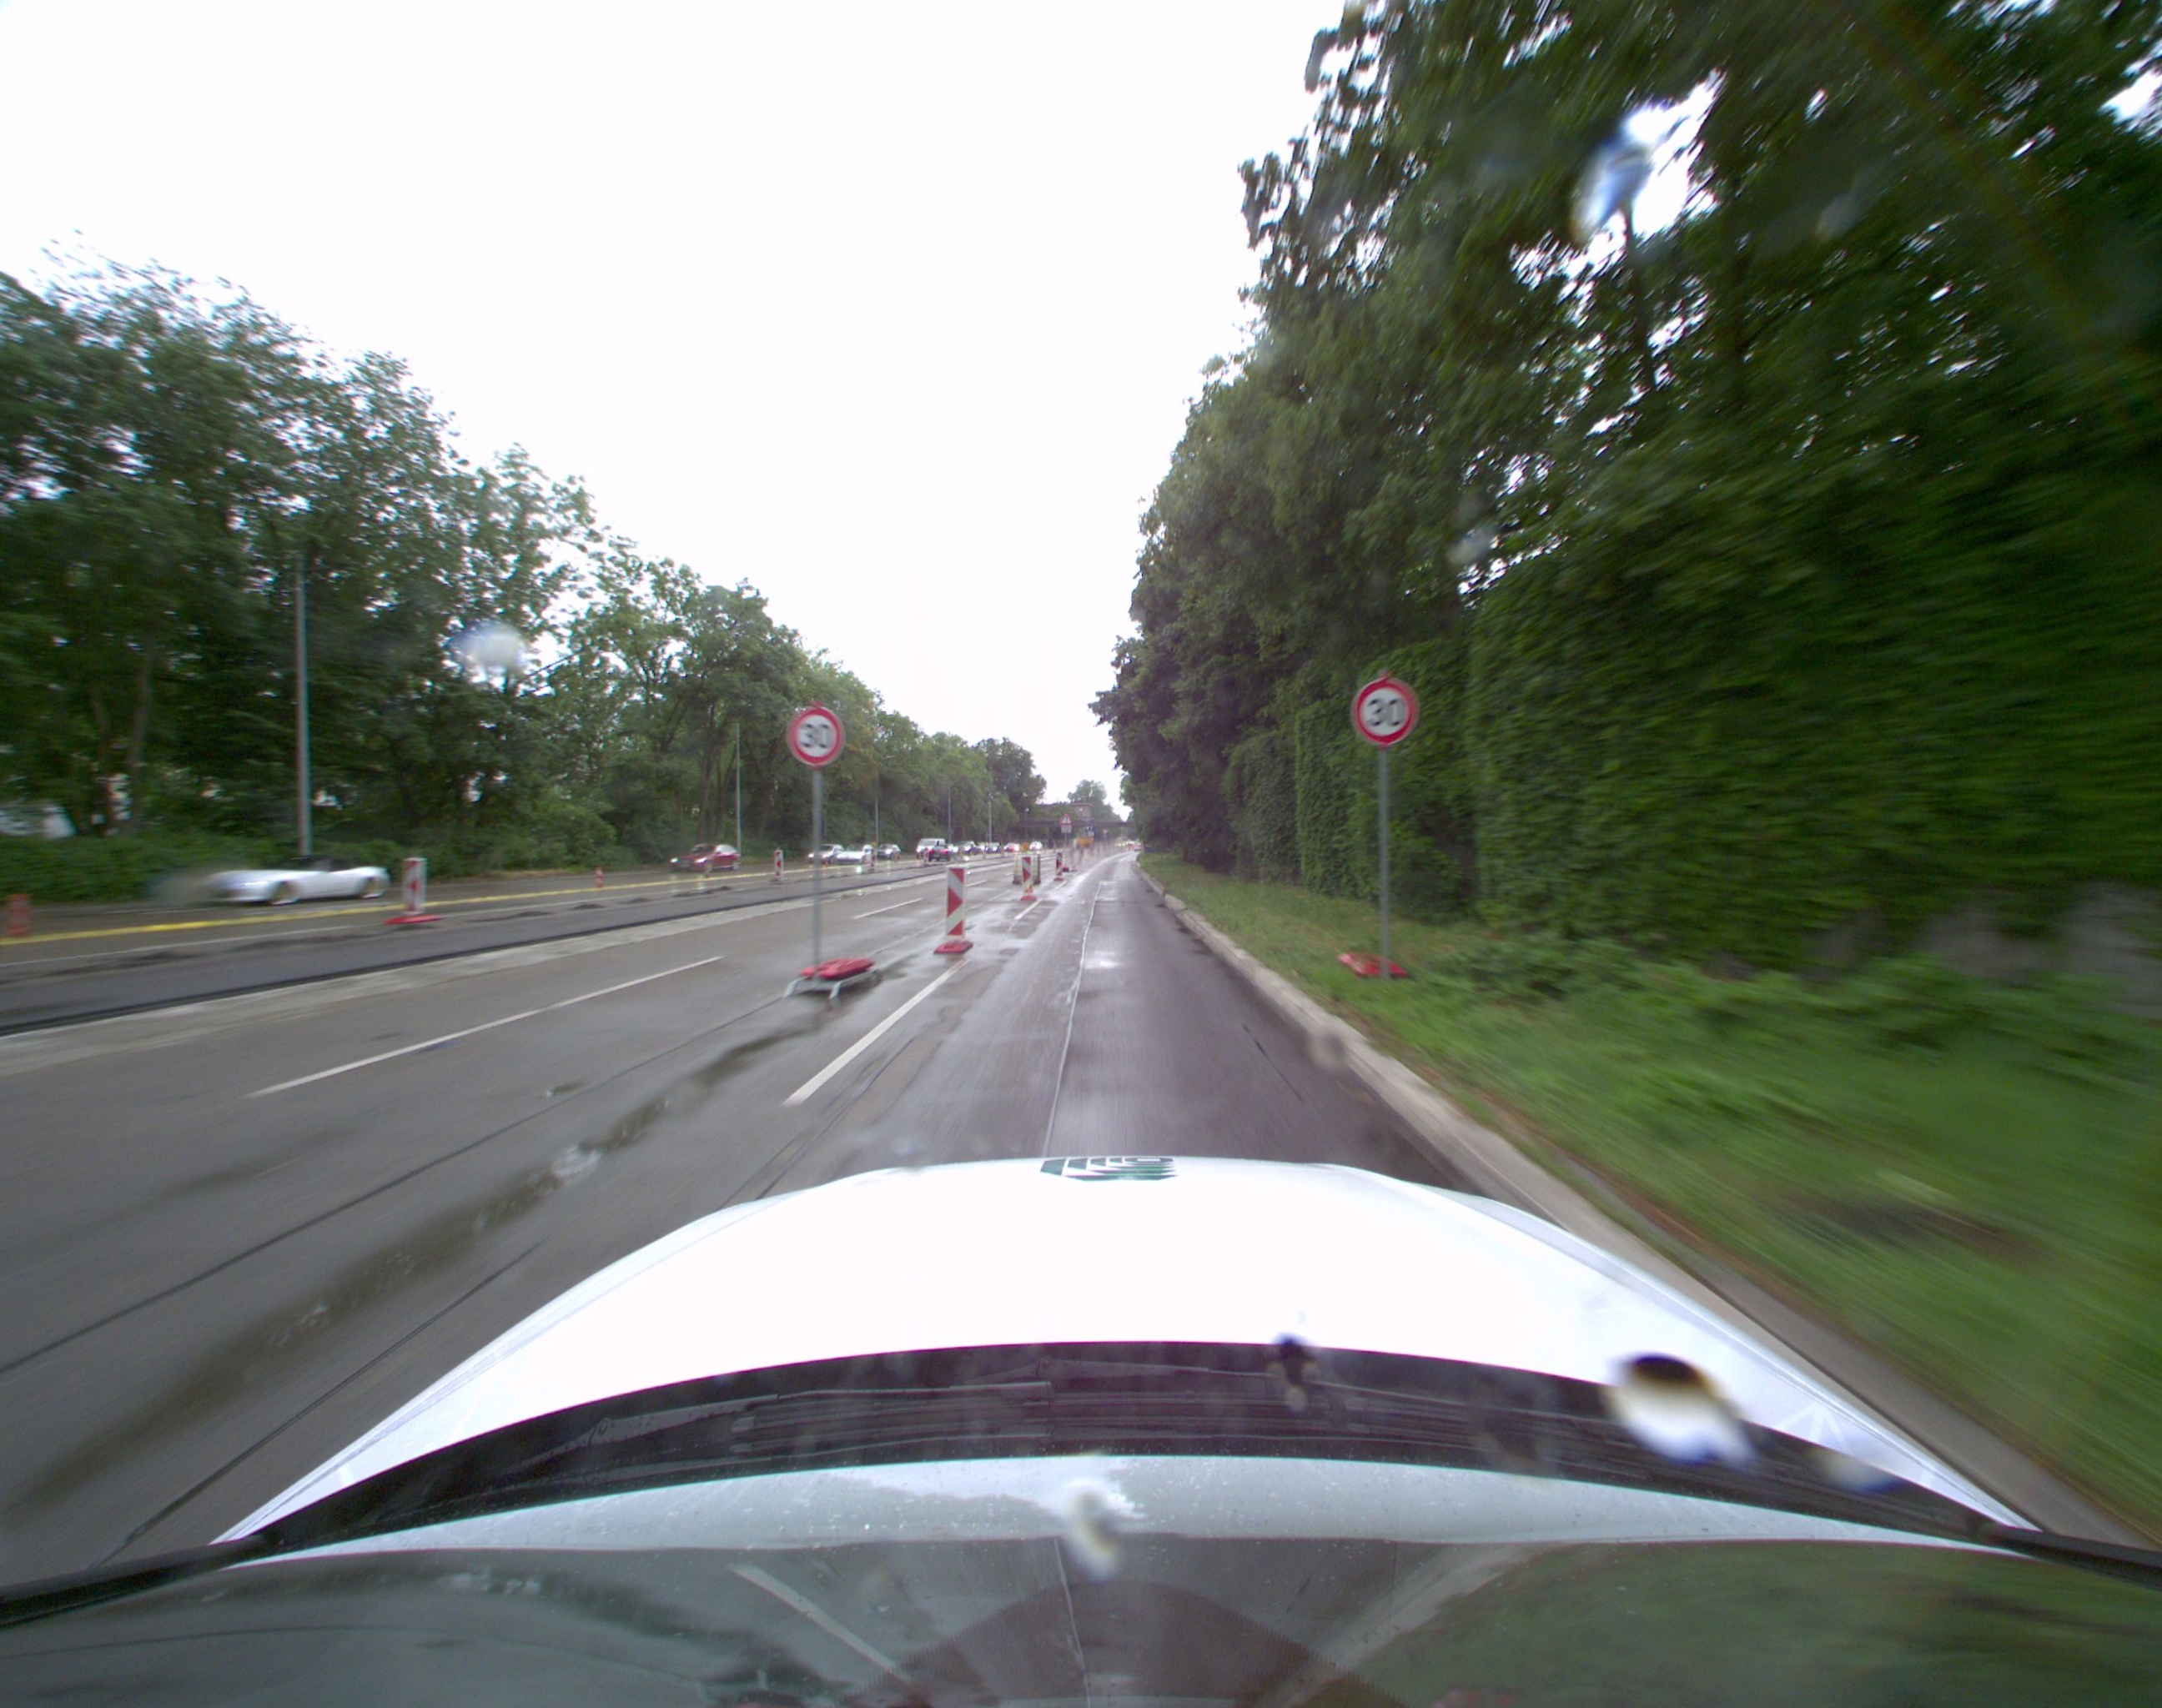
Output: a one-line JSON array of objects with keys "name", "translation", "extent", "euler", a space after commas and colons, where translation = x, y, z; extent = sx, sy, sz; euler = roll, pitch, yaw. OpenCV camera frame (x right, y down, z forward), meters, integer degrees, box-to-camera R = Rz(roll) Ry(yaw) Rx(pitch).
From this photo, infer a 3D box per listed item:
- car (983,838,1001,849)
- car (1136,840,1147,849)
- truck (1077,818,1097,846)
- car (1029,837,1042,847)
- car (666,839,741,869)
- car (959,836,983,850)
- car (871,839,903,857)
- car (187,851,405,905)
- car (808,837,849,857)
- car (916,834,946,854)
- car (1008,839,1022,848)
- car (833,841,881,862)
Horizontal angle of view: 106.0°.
[{"name": "car", "translation": [-12.199, -1.499, 111.538], "extent": [1.768, 1.487, 4.202], "euler": [0, 1, 4]}, {"name": "car", "translation": [12.122, -1.896, 163.598], "extent": [1.983, 1.640, 4.007], "euler": [-1, 1, 6]}, {"name": "truck", "translation": [0.944, -3.385, 127.496], "extent": [2.887, 4.258, 10.760], "euler": [0, 1, 1]}, {"name": "car", "translation": [-8.357, -2.233, 150.368], "extent": [1.882, 1.661, 4.898], "euler": [0, 1, 3]}, {"name": "car", "translation": [-19.866, -0.042, 43.078], "extent": [1.722, 1.476, 4.489], "euler": [-1, 1, 1]}, {"name": "car", "translation": [-13.485, -1.380, 100.158], "extent": [2.013, 1.725, 5.017], "euler": [0, 1, 3]}, {"name": "car", "translation": [-17.708, -0.568, 74.631], "extent": [1.820, 1.621, 4.003], "euler": [-1, 1, 2]}, {"name": "car", "translation": [-20.319, 0.559, 21.348], "extent": [1.681, 1.183, 4.004], "euler": [1, 1, 4]}, {"name": "car", "translation": [-18.667, -0.516, 60.299], "extent": [1.672, 1.400, 3.643], "euler": [0, 1, 3]}, {"name": "car", "translation": [-14.694, -1.009, 80.018], "extent": [1.987, 1.971, 4.903], "euler": [0, 1, 0]}, {"name": "car", "translation": [-10.480, -1.722, 128.851], "extent": [1.672, 1.400, 4.017], "euler": [0, 1, 3]}, {"name": "car", "translation": [-15.976, -0.213, 58.288], "extent": [1.985, 1.415, 4.397], "euler": [-1, 1, 3]}]
